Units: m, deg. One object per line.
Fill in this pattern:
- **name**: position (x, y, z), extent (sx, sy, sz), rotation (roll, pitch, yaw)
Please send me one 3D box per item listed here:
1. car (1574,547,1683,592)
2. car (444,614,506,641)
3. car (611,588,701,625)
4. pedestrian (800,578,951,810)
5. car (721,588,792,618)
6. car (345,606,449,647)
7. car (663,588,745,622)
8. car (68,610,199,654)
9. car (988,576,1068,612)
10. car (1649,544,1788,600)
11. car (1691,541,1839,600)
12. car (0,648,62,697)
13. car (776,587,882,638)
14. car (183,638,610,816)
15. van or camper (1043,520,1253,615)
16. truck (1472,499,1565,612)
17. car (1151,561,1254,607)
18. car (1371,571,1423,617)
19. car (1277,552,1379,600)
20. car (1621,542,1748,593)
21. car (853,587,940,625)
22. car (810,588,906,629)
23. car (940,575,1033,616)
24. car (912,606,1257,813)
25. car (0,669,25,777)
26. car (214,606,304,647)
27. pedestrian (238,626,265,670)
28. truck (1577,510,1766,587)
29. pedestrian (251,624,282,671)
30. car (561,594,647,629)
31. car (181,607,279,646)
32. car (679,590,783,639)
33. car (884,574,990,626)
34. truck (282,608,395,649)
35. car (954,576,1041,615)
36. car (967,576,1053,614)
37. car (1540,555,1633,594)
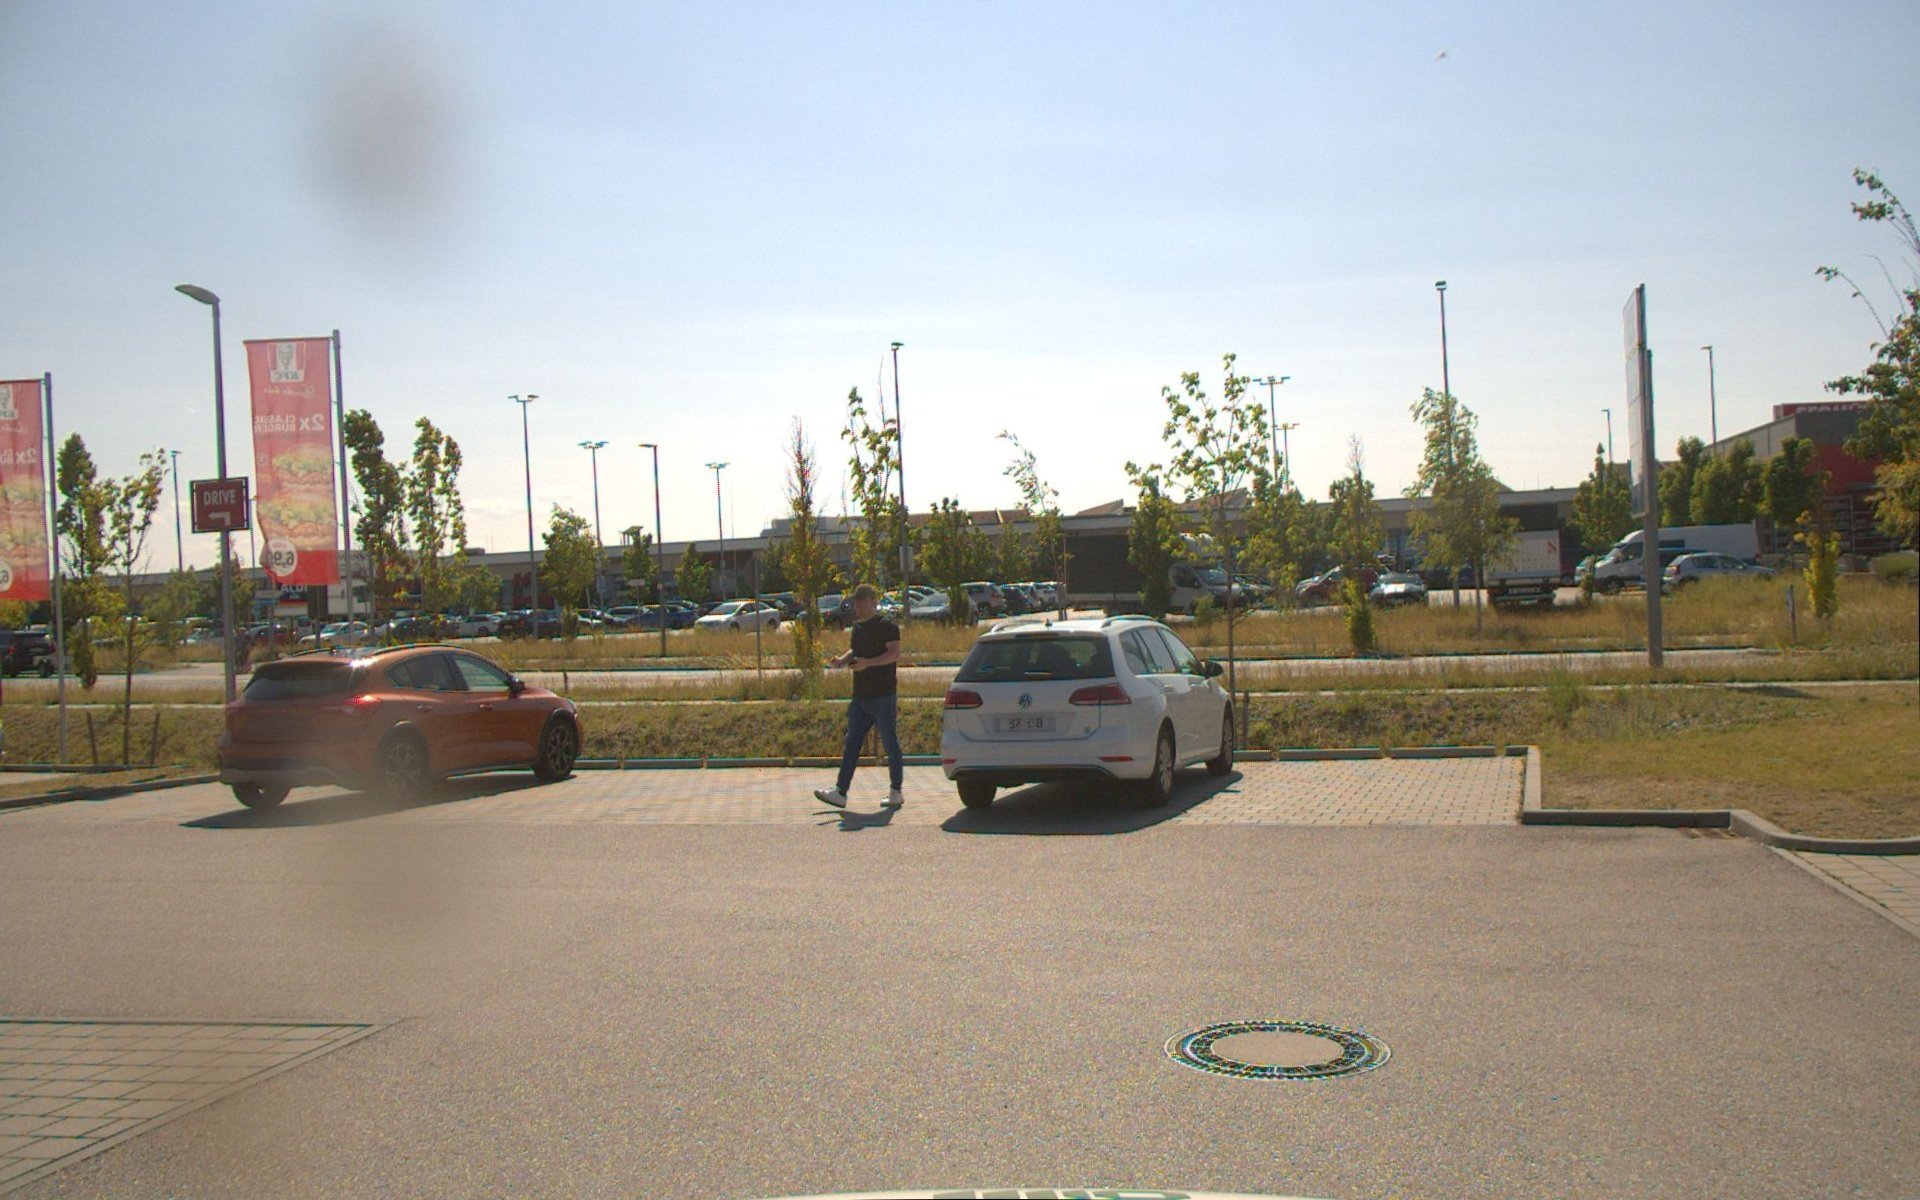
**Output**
- **car**: position (30.729, -1.390, 76.140), extent (4.296, 1.888, 1.957), rotation (-2, 0, 12)
- **car**: position (-31.183, 1.742, 106.358), extent (3.391, 1.579, 1.668), rotation (-2, 0, 6)
- **car**: position (-16.911, 0.374, 91.951), extent (4.461, 1.888, 1.957), rotation (-2, 0, 12)
- **pedestrian**: position (-0.703, 0.757, 13.789), extent (0.986, 1.841, 0.715), rotation (-1, -2, -43)
- **car**: position (-13.842, 0.189, 112.523), extent (4.296, 1.888, 1.957), rotation (-2, 0, 12)
- **car**: position (-28.035, 1.300, 82.500), extent (1.957, 1.878, 4.721), rotation (-2, 0, 32)
- **car**: position (-15.468, 0.294, 99.916), extent (4.461, 1.888, 1.957), rotation (-2, 0, 12)
- **car**: position (-47.238, 1.809, 94.700), extent (2.752, 2.276, 6.308), rotation (-2, 0, 25)
- **car**: position (3.964, -0.345, 95.814), extent (4.296, 1.888, 1.957), rotation (-2, 0, 12)
- **car**: position (28.013, -1.021, 61.248), extent (4.296, 1.888, 1.957), rotation (-2, 0, 12)
- **car**: position (28.348, -1.020, 58.378), extent (4.296, 1.888, 1.957), rotation (-2, 0, 12)
- **car**: position (-37.737, 2.843, 64.203), extent (5.096, 1.761, 1.990), rotation (-2, 0, 16)
- **car**: position (-5.298, 0.497, 67.331), extent (1.916, 1.888, 4.390), rotation (-2, 0, 35)
- **car**: position (-5.548, 1.208, 16.943), extent (1.789, 1.495, 4.354), rotation (-3, -1, 20)
- **van or camper**: position (6.808, -1.137, 60.932), extent (2.401, 3.155, 7.923), rotation (-2, 0, -44)
- **truck**: position (18.978, -1.464, 56.484), extent (2.701, 3.541, 6.837), rotation (-2, 0, 17)
- **car**: position (11.786, -0.772, 80.499), extent (4.811, 2.049, 2.084), rotation (-2, 0, 8)
- **car**: position (15.369, -0.224, 58.091), extent (1.615, 1.485, 3.969), rotation (-2, 0, 16)
- **car**: position (15.798, -1.028, 71.158), extent (4.162, 1.888, 1.872), rotation (-2, 0, 12)
- **car**: position (28.979, -1.293, 66.287), extent (4.296, 1.888, 1.957), rotation (-2, 0, 12)
- **car**: position (-3.414, 0.304, 89.658), extent (4.296, 1.888, 1.957), rotation (-2, 0, 12)
- **car**: position (-5.012, 0.403, 81.643), extent (4.296, 1.888, 1.957), rotation (-2, 0, 12)
- **car**: position (1.358, -0.206, 82.840), extent (4.296, 1.888, 1.957), rotation (-2, 0, 12)
- **car**: position (1.261, 0.839, 14.328), extent (1.789, 1.495, 4.482), rotation (-3, -1, 20)
- **car**: position (-14.412, 1.691, 20.698), extent (1.700, 1.437, 4.599), rotation (-2, -1, 24)
- **car**: position (-38.072, 1.413, 89.885), extent (1.959, 2.049, 4.077), rotation (-2, 0, 35)
- **pedestrian**: position (-25.678, 1.737, 59.910), extent (0.654, 1.583, 0.623), rotation (-2, 0, 38)
- **truck**: position (29.533, -2.110, 68.883), extent (6.885, 2.863, 1.957), rotation (-2, 0, 12)
- **pedestrian**: position (-24.912, 1.699, 59.415), extent (0.742, 1.627, 0.689), rotation (-2, 0, 38)
- **car**: position (-22.439, 0.708, 104.343), extent (4.811, 2.049, 2.084), rotation (-2, 0, 8)
- **car**: position (-41.465, 1.481, 94.040), extent (1.952, 2.049, 5.180), rotation (-2, 0, 21)
- **car**: position (-9.613, 0.607, 69.812), extent (1.959, 1.888, 4.272), rotation (-2, 0, 35)
- **car**: position (-0.868, -0.006, 64.663), extent (1.916, 1.888, 4.390), rotation (-2, 0, 35)
- **truck**: position (-32.074, 1.468, 85.511), extent (1.957, 1.896, 5.421), rotation (-2, 0, 31)
- **car**: position (1.993, -0.247, 87.721), extent (4.296, 1.888, 1.957), rotation (-2, 0, 12)
- **car**: position (2.730, -0.280, 89.652), extent (4.296, 1.888, 1.957), rotation (-2, 0, 12)
- **car**: position (33.268, -1.348, 87.932), extent (4.296, 1.888, 1.957), rotation (-2, 0, 12)
